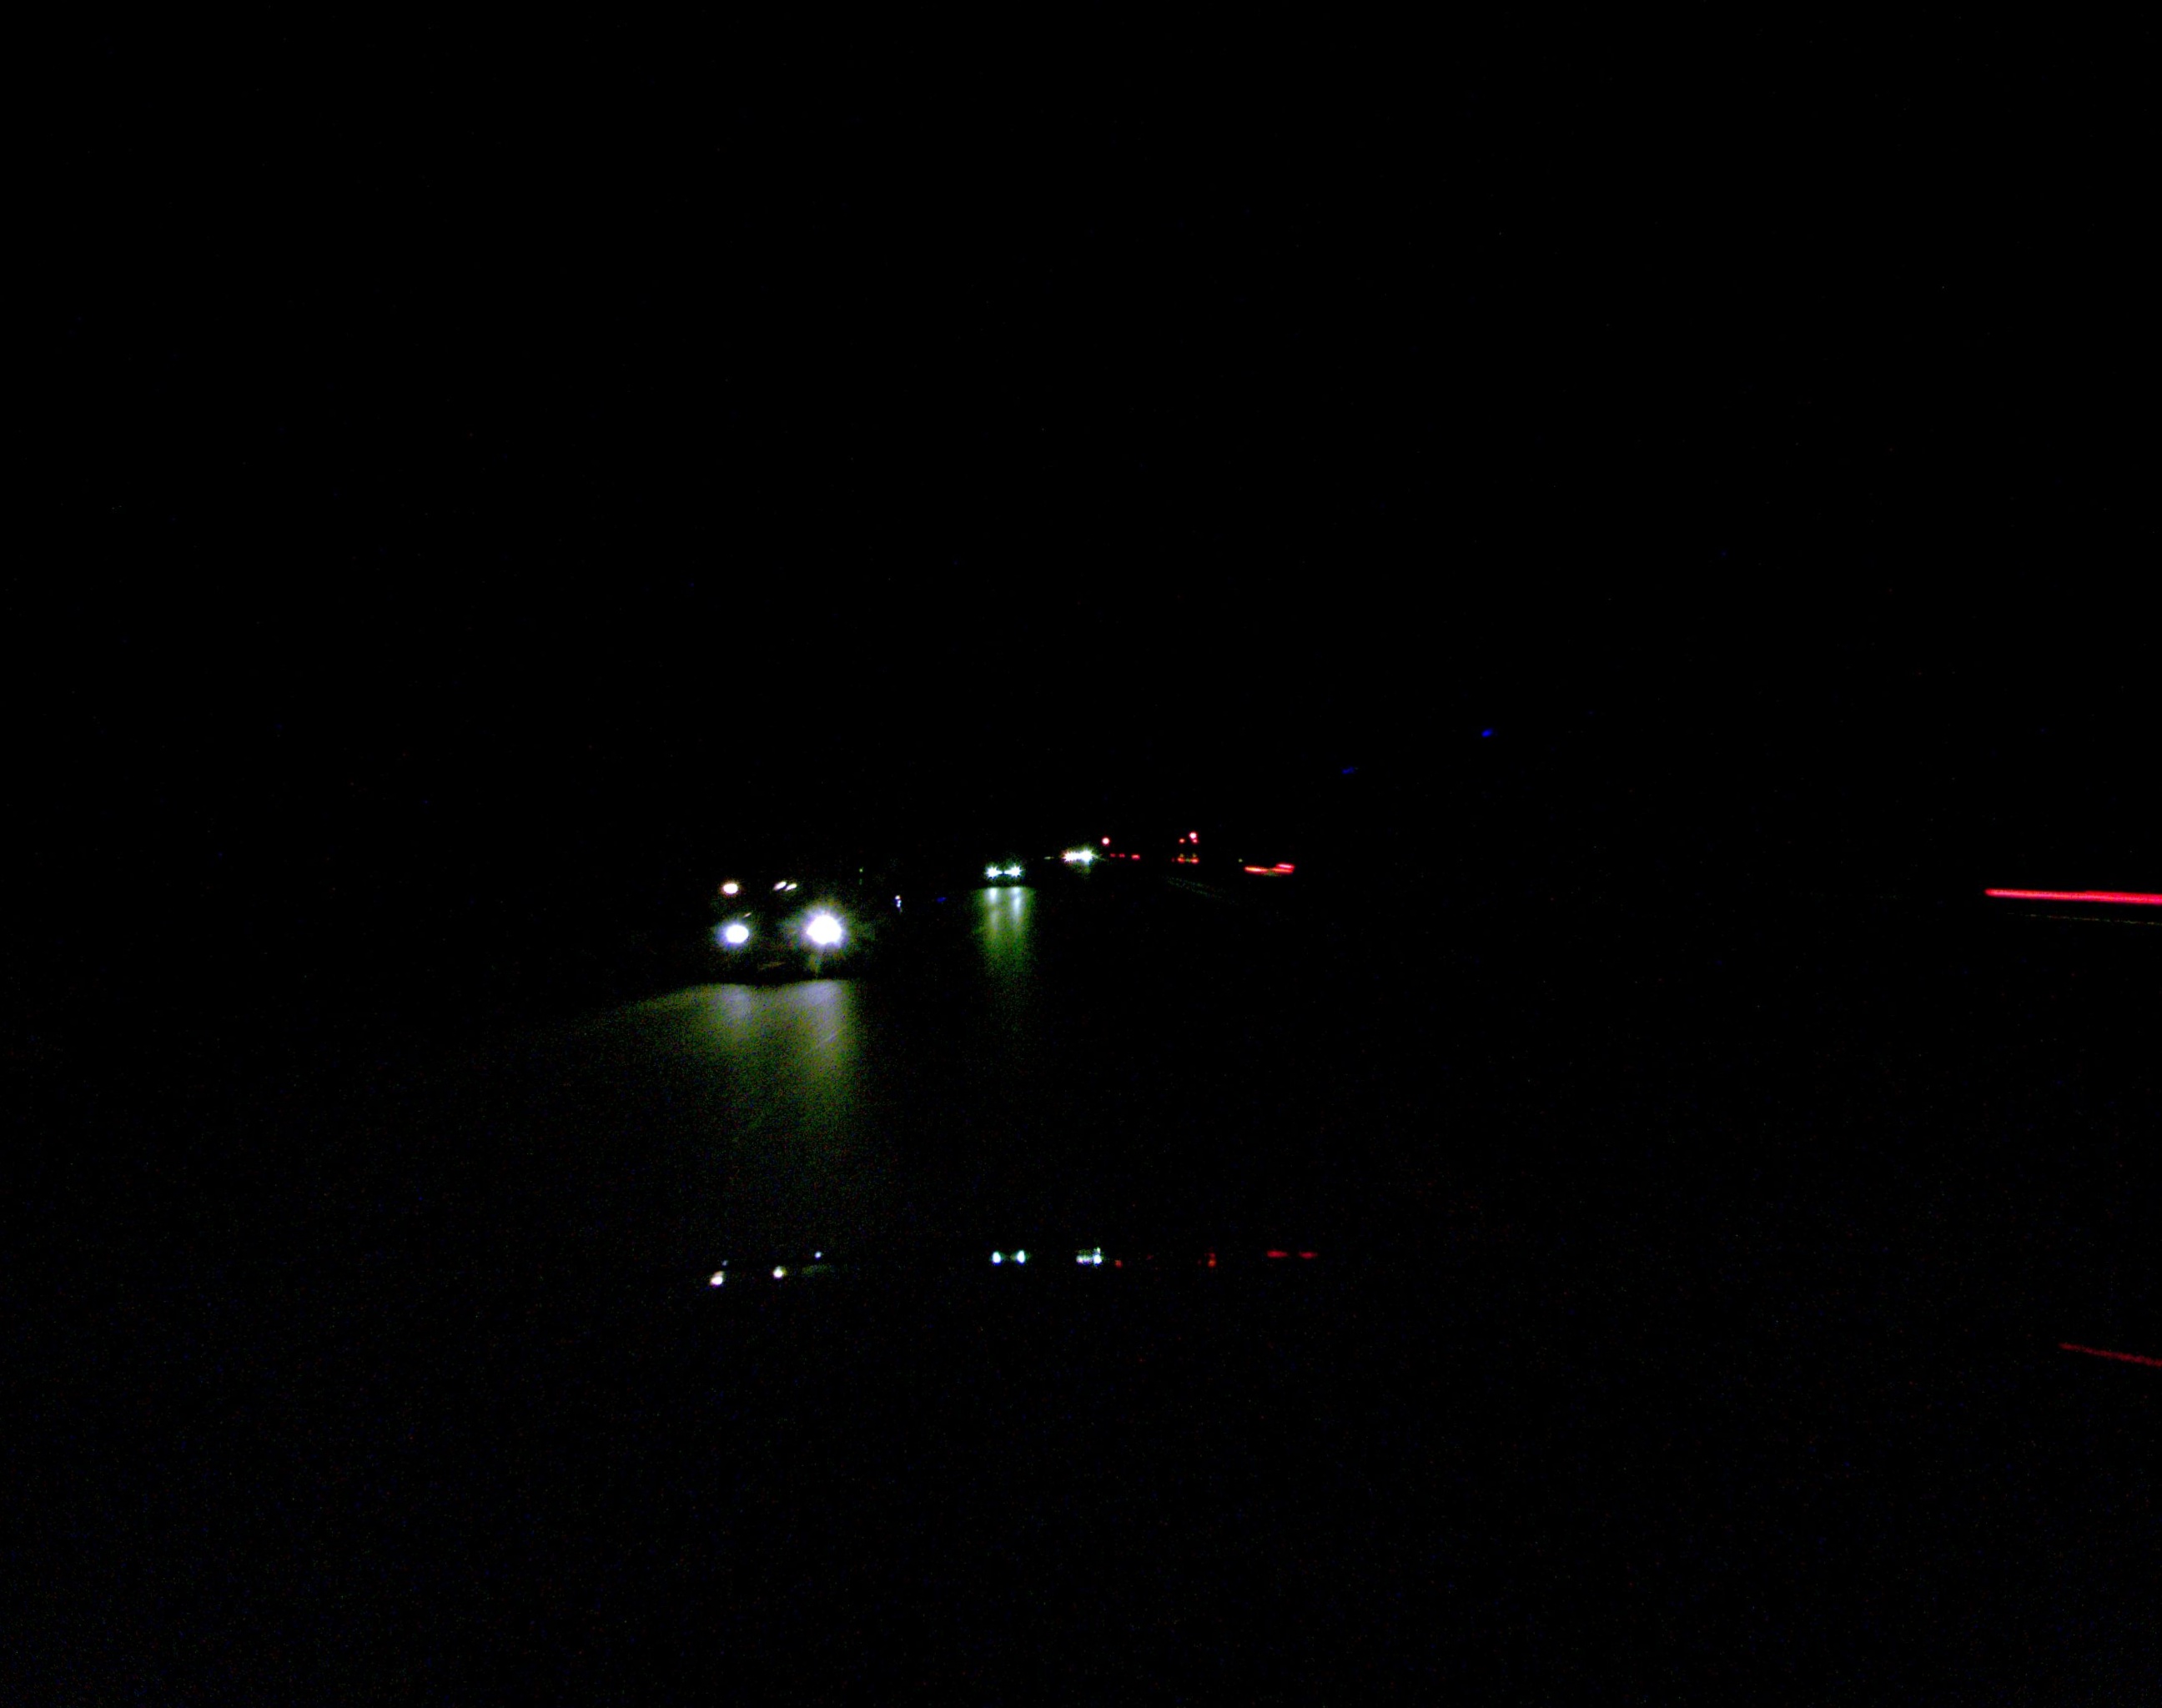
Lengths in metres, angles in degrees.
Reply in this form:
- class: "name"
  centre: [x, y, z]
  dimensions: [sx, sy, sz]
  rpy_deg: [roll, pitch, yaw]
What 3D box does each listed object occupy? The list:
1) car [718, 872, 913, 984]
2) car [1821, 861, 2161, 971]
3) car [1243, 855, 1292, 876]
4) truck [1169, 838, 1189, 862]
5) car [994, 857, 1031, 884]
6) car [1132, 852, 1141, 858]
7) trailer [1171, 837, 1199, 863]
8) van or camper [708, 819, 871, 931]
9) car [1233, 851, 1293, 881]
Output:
- class: "car"
  centre: [-4.163, 1.079, 12.677]
  dimensions: [1.690, 1.405, 4.225]
  rpy_deg: [-1, 0, 1]
- class: "car"
  centre: [16.011, 0.891, 13.010]
  dimensions: [1.998, 1.476, 4.800]
  rpy_deg: [0, 0, 0]
- class: "car"
  centre: [13.010, 0.759, 53.315]
  dimensions: [1.998, 1.386, 5.705]
  rpy_deg: [1, 0, 0]
- class: "truck"
  centre: [17.564, -0.783, 136.554]
  dimensions: [2.761, 4.188, 5.825]
  rpy_deg: [1, 1, 0]
- class: "car"
  centre: [-4.137, 0.943, 46.168]
  dimensions: [1.795, 1.532, 4.225]
  rpy_deg: [-1, 0, 1]
- class: "car"
  centre: [14.702, 0.255, 200.763]
  dimensions: [1.999, 1.453, 4.691]
  rpy_deg: [1, 0, -2]
- class: "trailer"
  centre: [17.598, -0.693, 129.900]
  dimensions: [2.867, 4.152, 13.903]
  rpy_deg: [1, 1, 0]
- class: "van or camper"
  centre: [-8.332, 0.534, 22.683]
  dimensions: [2.213, 2.755, 6.803]
  rpy_deg: [-2, 0, -1]
- class: "car"
  centre: [9.347, 0.583, 39.498]
  dimensions: [1.998, 1.453, 4.900]
  rpy_deg: [1, 0, 1]
